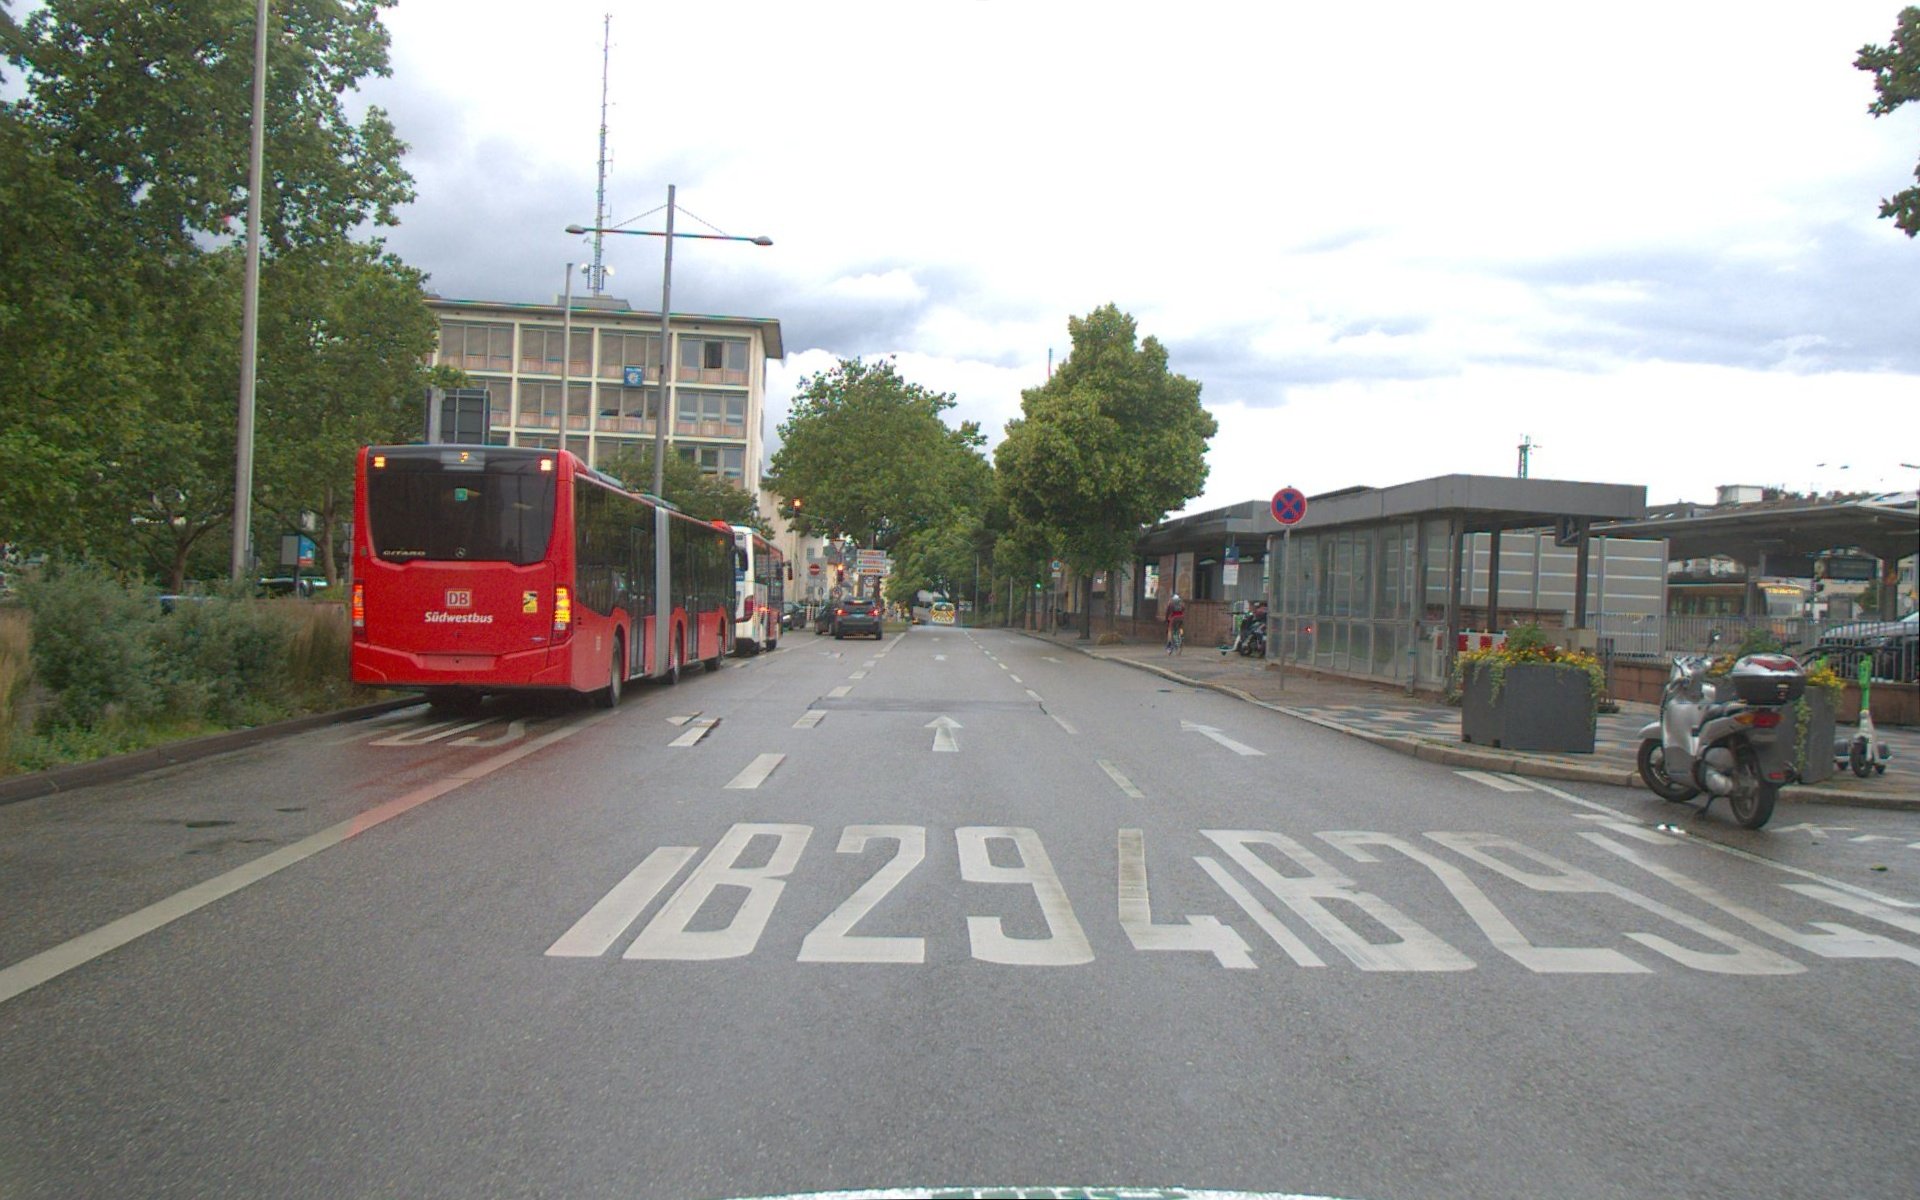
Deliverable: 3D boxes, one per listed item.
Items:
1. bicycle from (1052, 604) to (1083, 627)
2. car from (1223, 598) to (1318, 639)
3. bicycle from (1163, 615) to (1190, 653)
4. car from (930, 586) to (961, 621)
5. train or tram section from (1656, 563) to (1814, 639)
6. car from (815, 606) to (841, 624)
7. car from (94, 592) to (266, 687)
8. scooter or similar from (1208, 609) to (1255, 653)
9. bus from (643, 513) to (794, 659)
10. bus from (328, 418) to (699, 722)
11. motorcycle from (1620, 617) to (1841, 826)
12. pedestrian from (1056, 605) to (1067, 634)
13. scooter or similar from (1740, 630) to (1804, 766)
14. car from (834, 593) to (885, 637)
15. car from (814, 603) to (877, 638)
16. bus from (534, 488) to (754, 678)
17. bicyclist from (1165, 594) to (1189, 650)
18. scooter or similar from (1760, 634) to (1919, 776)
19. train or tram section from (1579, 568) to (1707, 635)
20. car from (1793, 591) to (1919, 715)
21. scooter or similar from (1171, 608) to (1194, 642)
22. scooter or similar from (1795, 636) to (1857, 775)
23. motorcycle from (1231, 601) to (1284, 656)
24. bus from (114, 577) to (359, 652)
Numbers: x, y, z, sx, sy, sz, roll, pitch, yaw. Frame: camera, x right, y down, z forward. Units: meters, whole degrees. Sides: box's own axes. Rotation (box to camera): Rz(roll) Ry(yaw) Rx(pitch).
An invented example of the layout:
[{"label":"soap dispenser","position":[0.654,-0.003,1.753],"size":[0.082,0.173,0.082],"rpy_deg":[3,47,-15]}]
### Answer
[{"label":"bicycle","position":[5.968,0.859,91.771],"size":[1.688,1.271,0.485],"rpy_deg":[0,0,30]},{"label":"car","position":[12.192,0.704,65.183],"size":[3.483,1.569,1.747],"rpy_deg":[0,0,3]},{"label":"bicycle","position":[6.105,0.958,46.753],"size":[0.437,1.034,1.676],"rpy_deg":[-1,0,-3]},{"label":"car","position":[-1.181,0.300,131.615],"size":[2.219,2.703,3.997],"rpy_deg":[1,0,-3]},{"label":"train or tram section","position":[36.132,0.061,77.591],"size":[2.601,3.340,9.515],"rpy_deg":[0,0,-3]},{"label":"car","position":[-10.762,1.225,135.091],"size":[1.656,1.320,4.093],"rpy_deg":[2,-1,1]},{"label":"car","position":[-14.020,0.667,29.968],"size":[1.758,1.606,4.138],"rpy_deg":[0,0,-10]},{"label":"scooter or similar","position":[7.439,0.844,45.400],"size":[0.485,1.173,1.704],"rpy_deg":[1,-1,-21]},{"label":"bus","position":[-6.498,-0.338,46.457],"size":[2.896,3.499,12.552],"rpy_deg":[1,0,-3]},{"label":"bus","position":[-5.712,-0.338,23.218],"size":[2.753,3.302,9.909],"rpy_deg":[1,0,-2]},{"label":"motorcycle","position":[5.643,0.835,12.263],"size":[0.630,1.376,2.108],"rpy_deg":[1,0,-1]},{"label":"pedestrian","position":[5.605,1.062,91.454],"size":[0.448,1.596,0.392],"rpy_deg":[0,-1,30]},{"label":"scooter or similar","position":[7.452,0.880,15.155],"size":[0.405,1.175,1.261],"rpy_deg":[3,0,29]},{"label":"car","position":[-3.923,0.592,65.114],"size":[1.925,1.668,4.356],"rpy_deg":[1,0,-3]},{"label":"car","position":[-5.026,0.876,72.136],"size":[1.787,1.434,4.392],"rpy_deg":[1,0,-17]},{"label":"bus","position":[-5.934,-0.297,32.595],"size":[2.696,3.187,8.841],"rpy_deg":[1,0,-1]},{"label":"bicyclist","position":[6.119,0.629,46.714],"size":[0.523,1.565,0.694],"rpy_deg":[-1,0,-4]},{"label":"scooter or similar","position":[8.404,0.953,15.381],"size":[1.043,1.175,1.667],"rpy_deg":[3,0,-1]},{"label":"train or tram section","position":[35.698,0.095,86.883],"size":[2.601,3.340,9.129],"rpy_deg":[0,0,-3]},{"label":"car","position":[16.249,0.840,26.694],"size":[4.593,1.907,2.106],"rpy_deg":[1,0,-6]},{"label":"scooter or similar","position":[7.829,0.861,58.287],"size":[0.483,1.173,1.544],"rpy_deg":[1,-1,-4]},{"label":"scooter or similar","position":[7.829,0.928,14.936],"size":[0.405,1.175,1.261],"rpy_deg":[3,0,29]},{"label":"motorcycle","position":[7.756,0.718,43.192],"size":[0.776,1.371,2.455],"rpy_deg":[1,0,-4]},{"label":"bus","position":[-33.999,0.727,77.599],"size":[11.685,3.072,2.890],"rpy_deg":[-2,-1,20]}]
